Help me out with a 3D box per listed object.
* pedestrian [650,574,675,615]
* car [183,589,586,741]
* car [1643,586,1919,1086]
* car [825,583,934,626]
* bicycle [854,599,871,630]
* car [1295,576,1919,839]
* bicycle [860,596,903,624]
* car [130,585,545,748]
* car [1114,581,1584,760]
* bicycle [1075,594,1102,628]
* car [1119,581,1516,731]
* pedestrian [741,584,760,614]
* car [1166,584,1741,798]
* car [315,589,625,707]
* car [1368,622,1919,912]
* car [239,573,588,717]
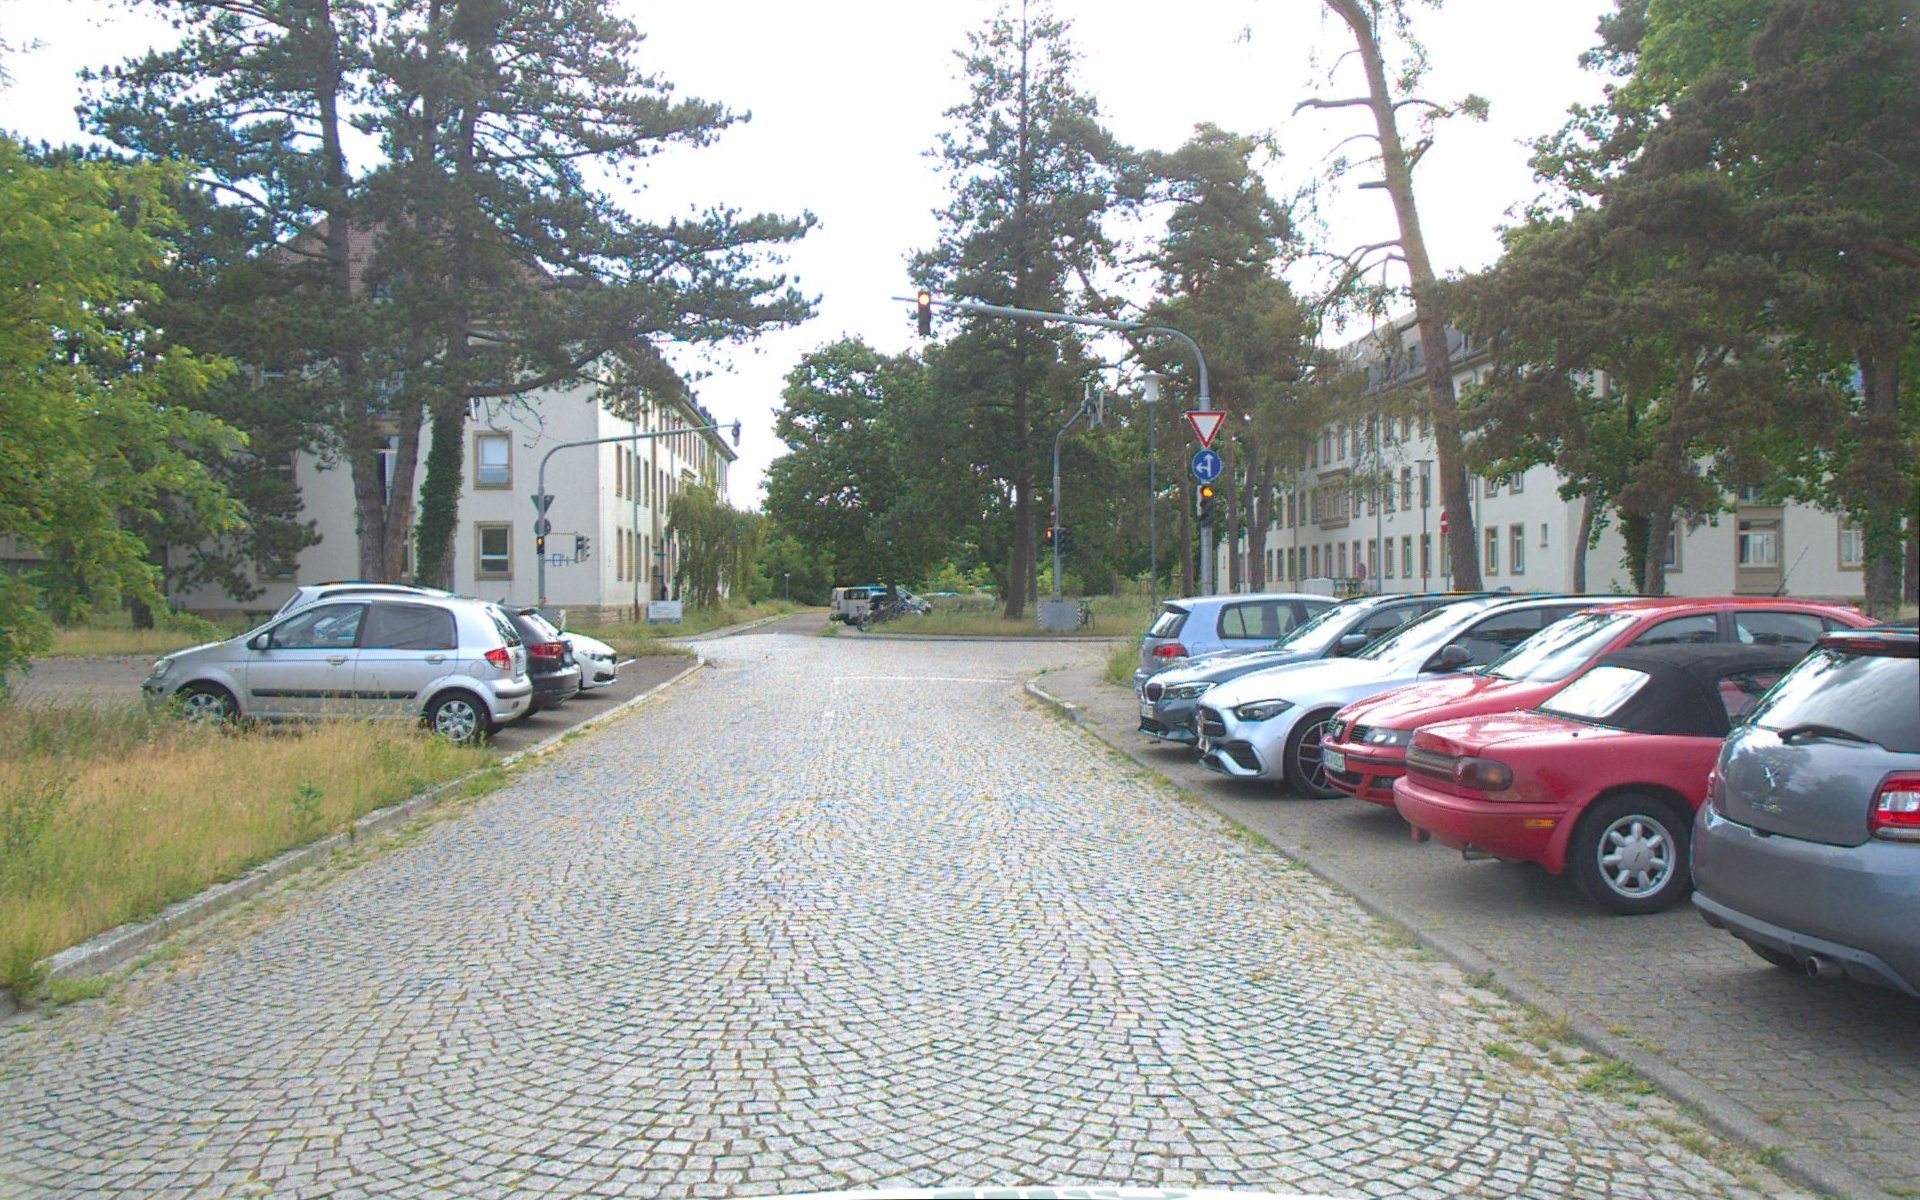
[{"bbox_3d":[-14.774,-0.268,82.122,1.053,1.993,1.120,1,0,-4],"label":"pedestrian"},{"bbox_3d":[-6.672,0.718,19.625,4.219,1.581,1.808,-1,0,-10],"label":"car"},{"bbox_3d":[4.599,0.691,6.075,3.436,1.513,1.742,-1,0,-4],"label":"car"},{"bbox_3d":[-4.171,0.199,85.168,5.289,2.138,2.169,-1,0,-16],"label":"car"},{"bbox_3d":[-3.854,0.579,65.718,0.649,1.191,1.886,1,0,-3],"label":"bicycle"},{"bbox_3d":[4.459,0.639,11.042,4.025,1.502,1.683,-1,0,-6],"label":"car"},{"bbox_3d":[-3.530,0.440,73.886,1.847,1.191,0.663,1,0,-9],"label":"bicycle"},{"bbox_3d":[-6.284,0.658,17.051,3.649,1.506,1.671,2,0,-7],"label":"car"},{"bbox_3d":[3.752,0.619,16.130,4.158,1.505,1.703,-2,0,-15],"label":"car"},{"bbox_3d":[4.303,0.362,55.638,0.649,1.069,1.886,1,1,-3],"label":"bicycle"},{"bbox_3d":[3.987,0.587,18.704,4.059,1.489,1.630,-1,0,-9],"label":"car"},{"bbox_3d":[-14.446,-0.061,114.109,1.216,1.993,1.119,1,0,-9],"label":"pedestrian"},{"bbox_3d":[3.908,0.659,13.370,4.110,1.462,1.750,-1,0,-11],"label":"car"},{"bbox_3d":[-7.243,0.677,24.853,4.219,1.581,1.808,-1,0,-10],"label":"car"},{"bbox_3d":[4.118,0.795,8.672,3.515,1.244,1.628,-1,0,-3],"label":"car"},{"bbox_3d":[-7.275,0.568,22.393,4.219,1.762,1.649,-1,0,-9],"label":"car"}]
